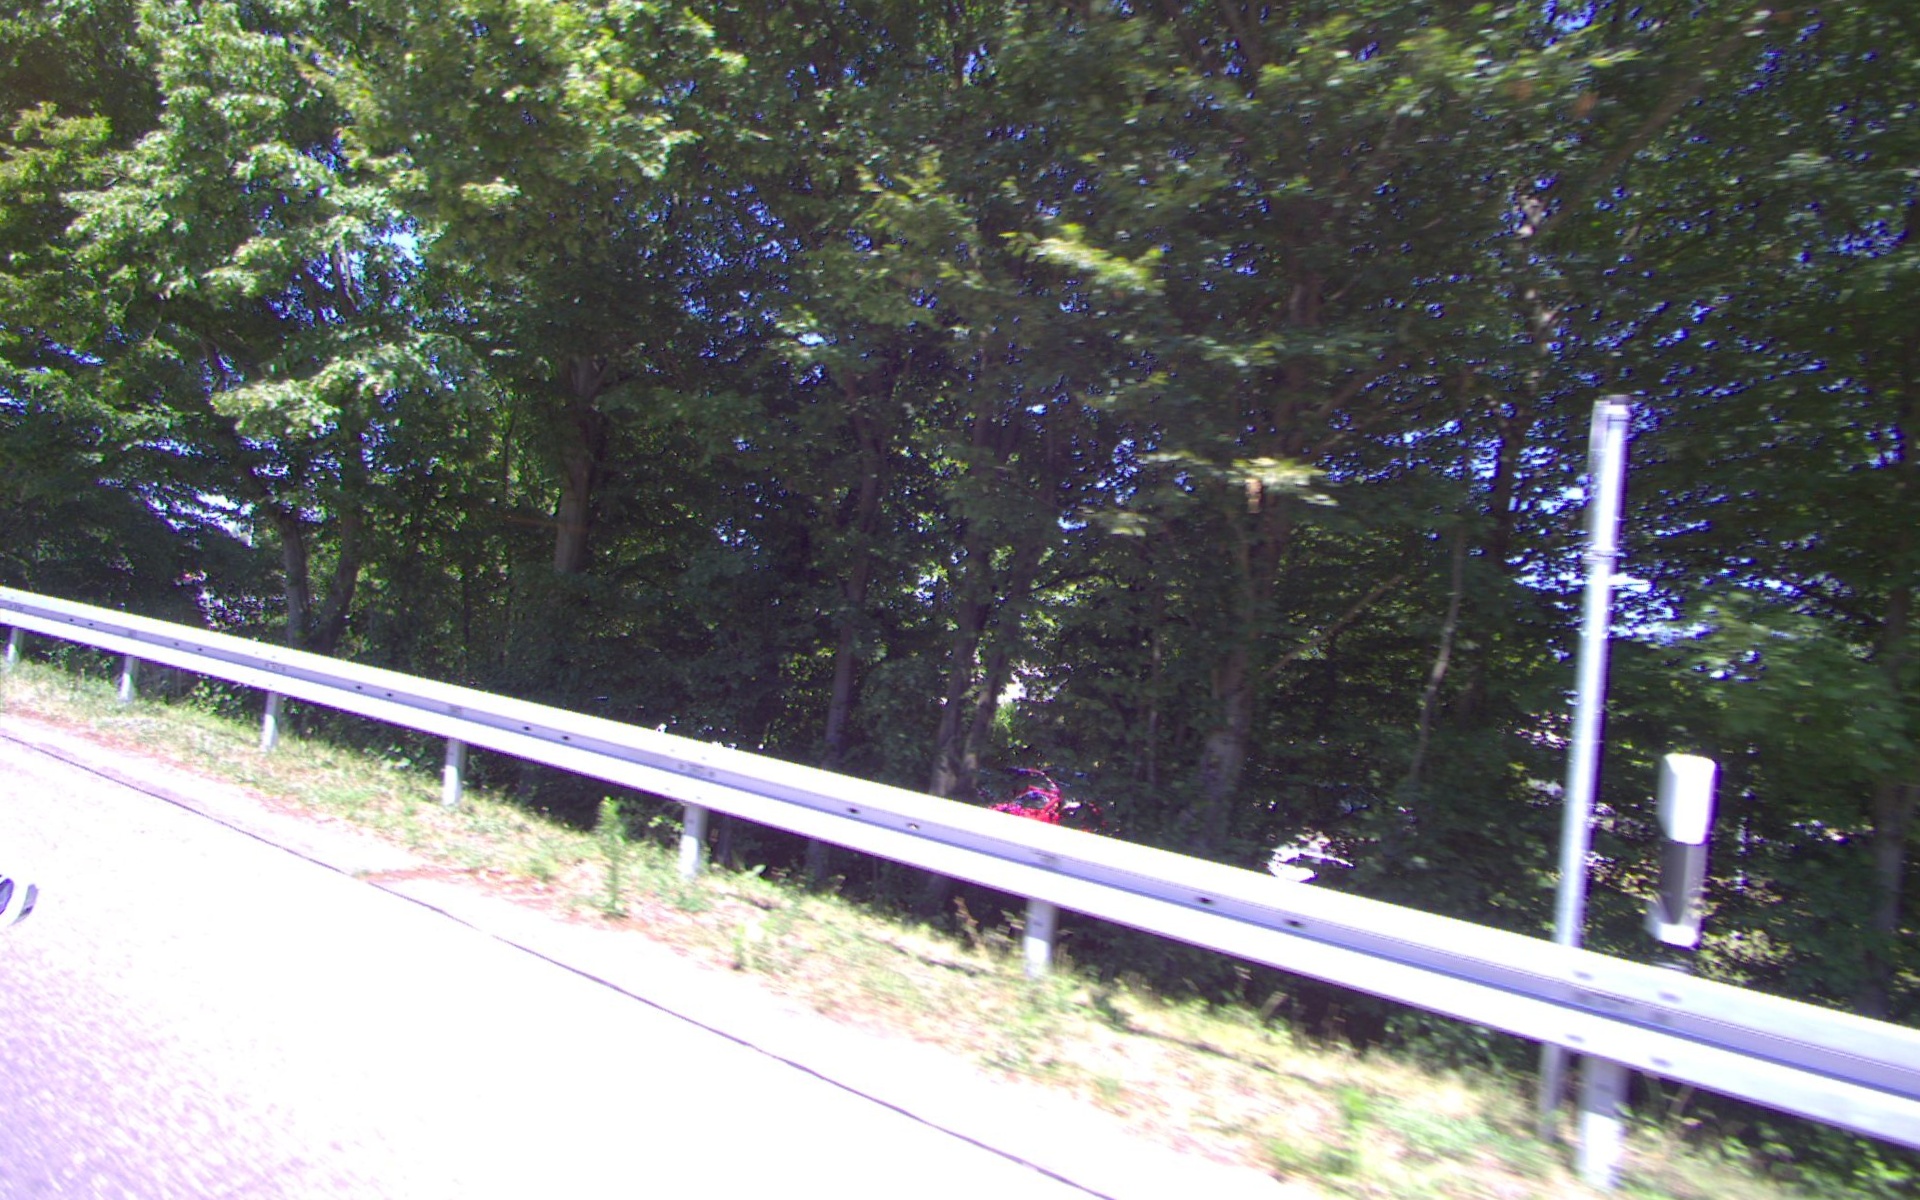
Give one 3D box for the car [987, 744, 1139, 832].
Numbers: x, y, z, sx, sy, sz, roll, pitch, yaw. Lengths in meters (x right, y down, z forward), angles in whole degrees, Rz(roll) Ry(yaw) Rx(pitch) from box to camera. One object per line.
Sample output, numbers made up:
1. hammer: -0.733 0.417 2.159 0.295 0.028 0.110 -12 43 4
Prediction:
1. car: 3.119 5.673 30.287 3.962 2.035 1.985 11 -3 -31
